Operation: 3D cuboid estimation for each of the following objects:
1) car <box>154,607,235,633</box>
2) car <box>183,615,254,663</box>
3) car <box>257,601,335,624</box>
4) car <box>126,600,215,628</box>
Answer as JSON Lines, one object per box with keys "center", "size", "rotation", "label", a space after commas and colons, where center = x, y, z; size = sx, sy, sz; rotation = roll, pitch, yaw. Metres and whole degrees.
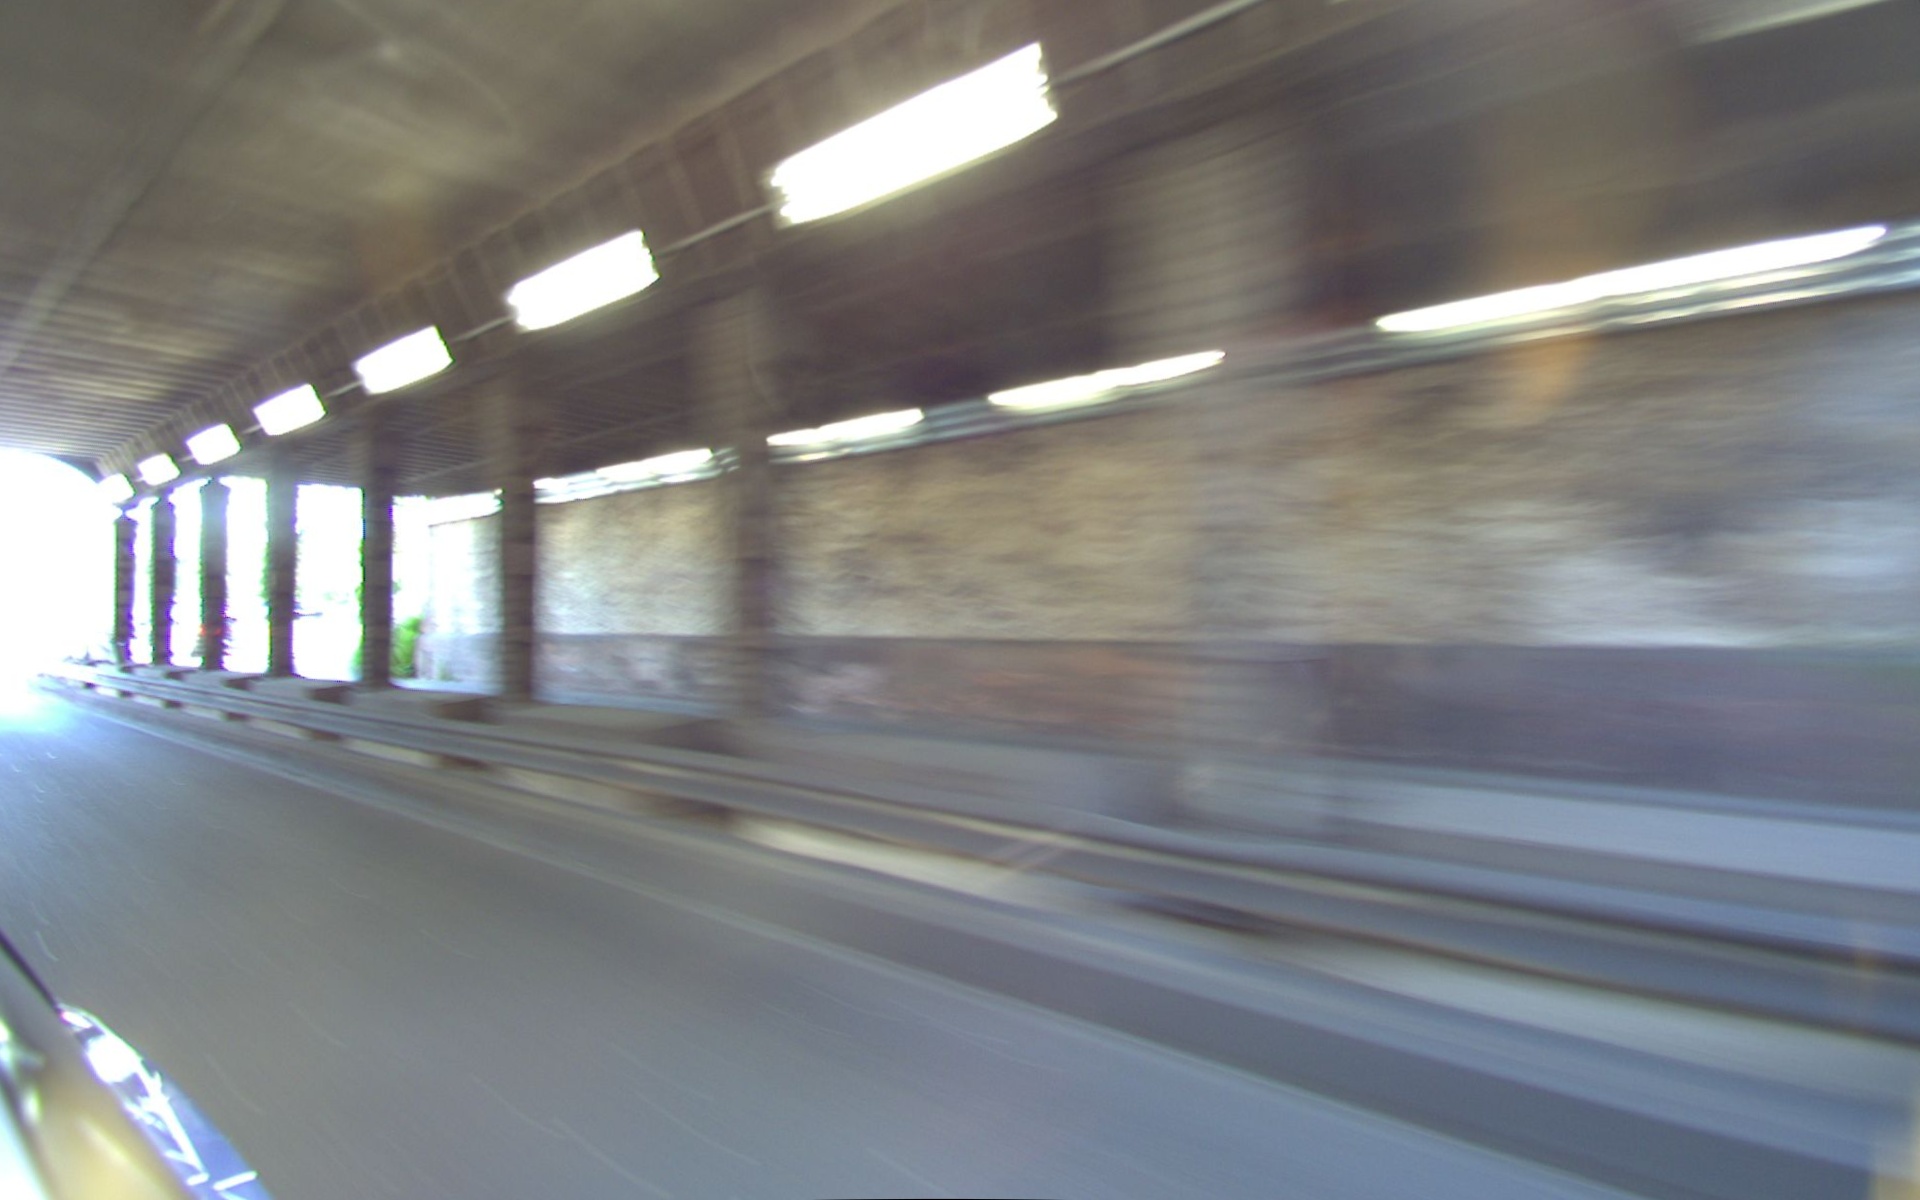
{"center": [-52.515, 1.346, 69.443], "size": [4.260, 1.611, 1.861], "rotation": [0, 0, -44], "label": "car"}
{"center": [-26.098, 1.323, 35.728], "size": [1.924, 1.529, 4.398], "rotation": [1, 0, -35], "label": "car"}
{"center": [-43.221, 0.811, 65.988], "size": [1.896, 1.438, 3.907], "rotation": [0, 0, 22], "label": "car"}
{"center": [-48.279, 0.856, 62.024], "size": [1.900, 1.648, 4.107], "rotation": [0, 0, 11], "label": "car"}
